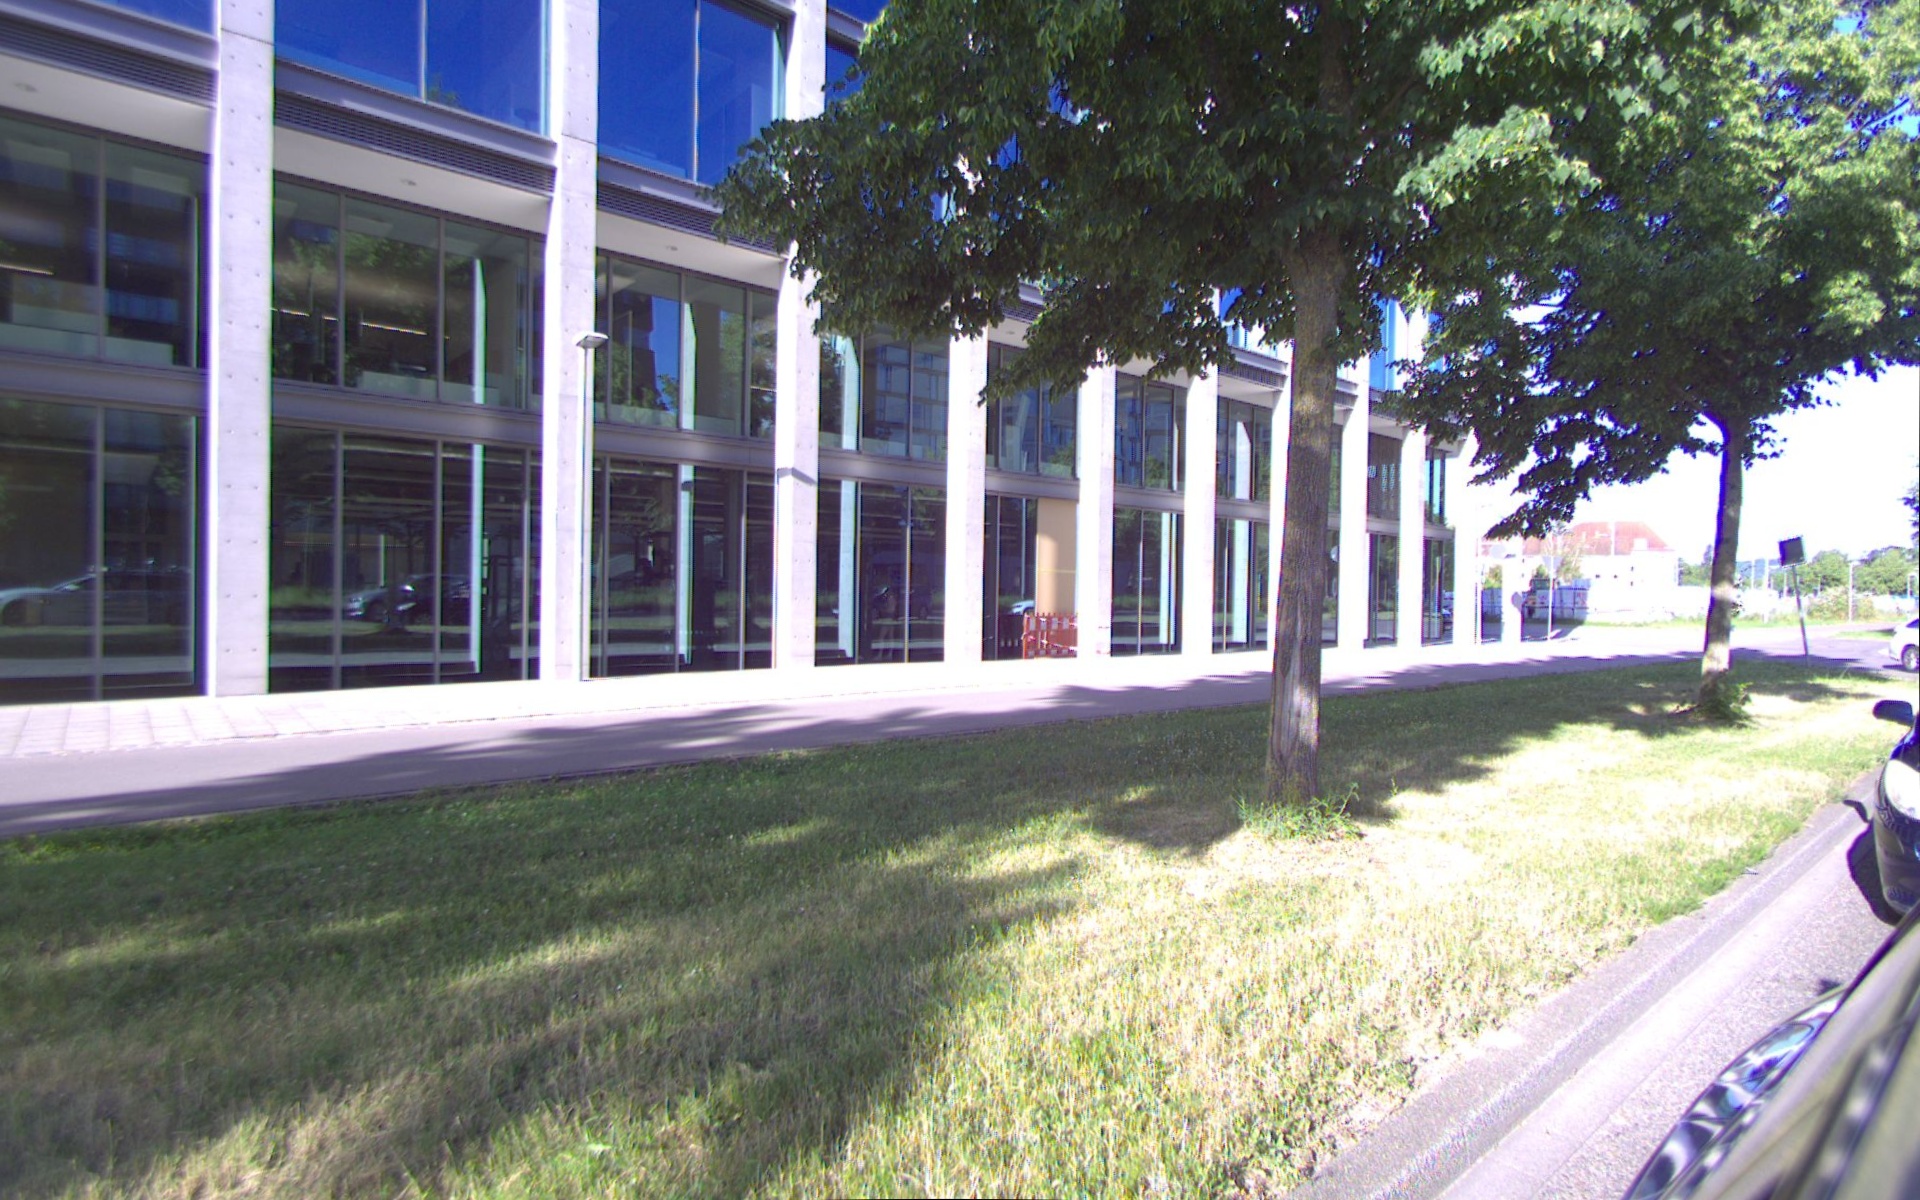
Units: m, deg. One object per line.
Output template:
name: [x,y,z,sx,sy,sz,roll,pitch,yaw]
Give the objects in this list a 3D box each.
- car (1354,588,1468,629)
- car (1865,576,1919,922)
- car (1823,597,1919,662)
car: [19.203,0.322,43.232,1.963,1.598,3.997,0,1,-38]
car: [6.312,0.657,5.269,4.403,1.500,1.845,0,1,-41]
car: [23.269,0.710,24.235,1.775,1.465,4.558,1,1,9]
